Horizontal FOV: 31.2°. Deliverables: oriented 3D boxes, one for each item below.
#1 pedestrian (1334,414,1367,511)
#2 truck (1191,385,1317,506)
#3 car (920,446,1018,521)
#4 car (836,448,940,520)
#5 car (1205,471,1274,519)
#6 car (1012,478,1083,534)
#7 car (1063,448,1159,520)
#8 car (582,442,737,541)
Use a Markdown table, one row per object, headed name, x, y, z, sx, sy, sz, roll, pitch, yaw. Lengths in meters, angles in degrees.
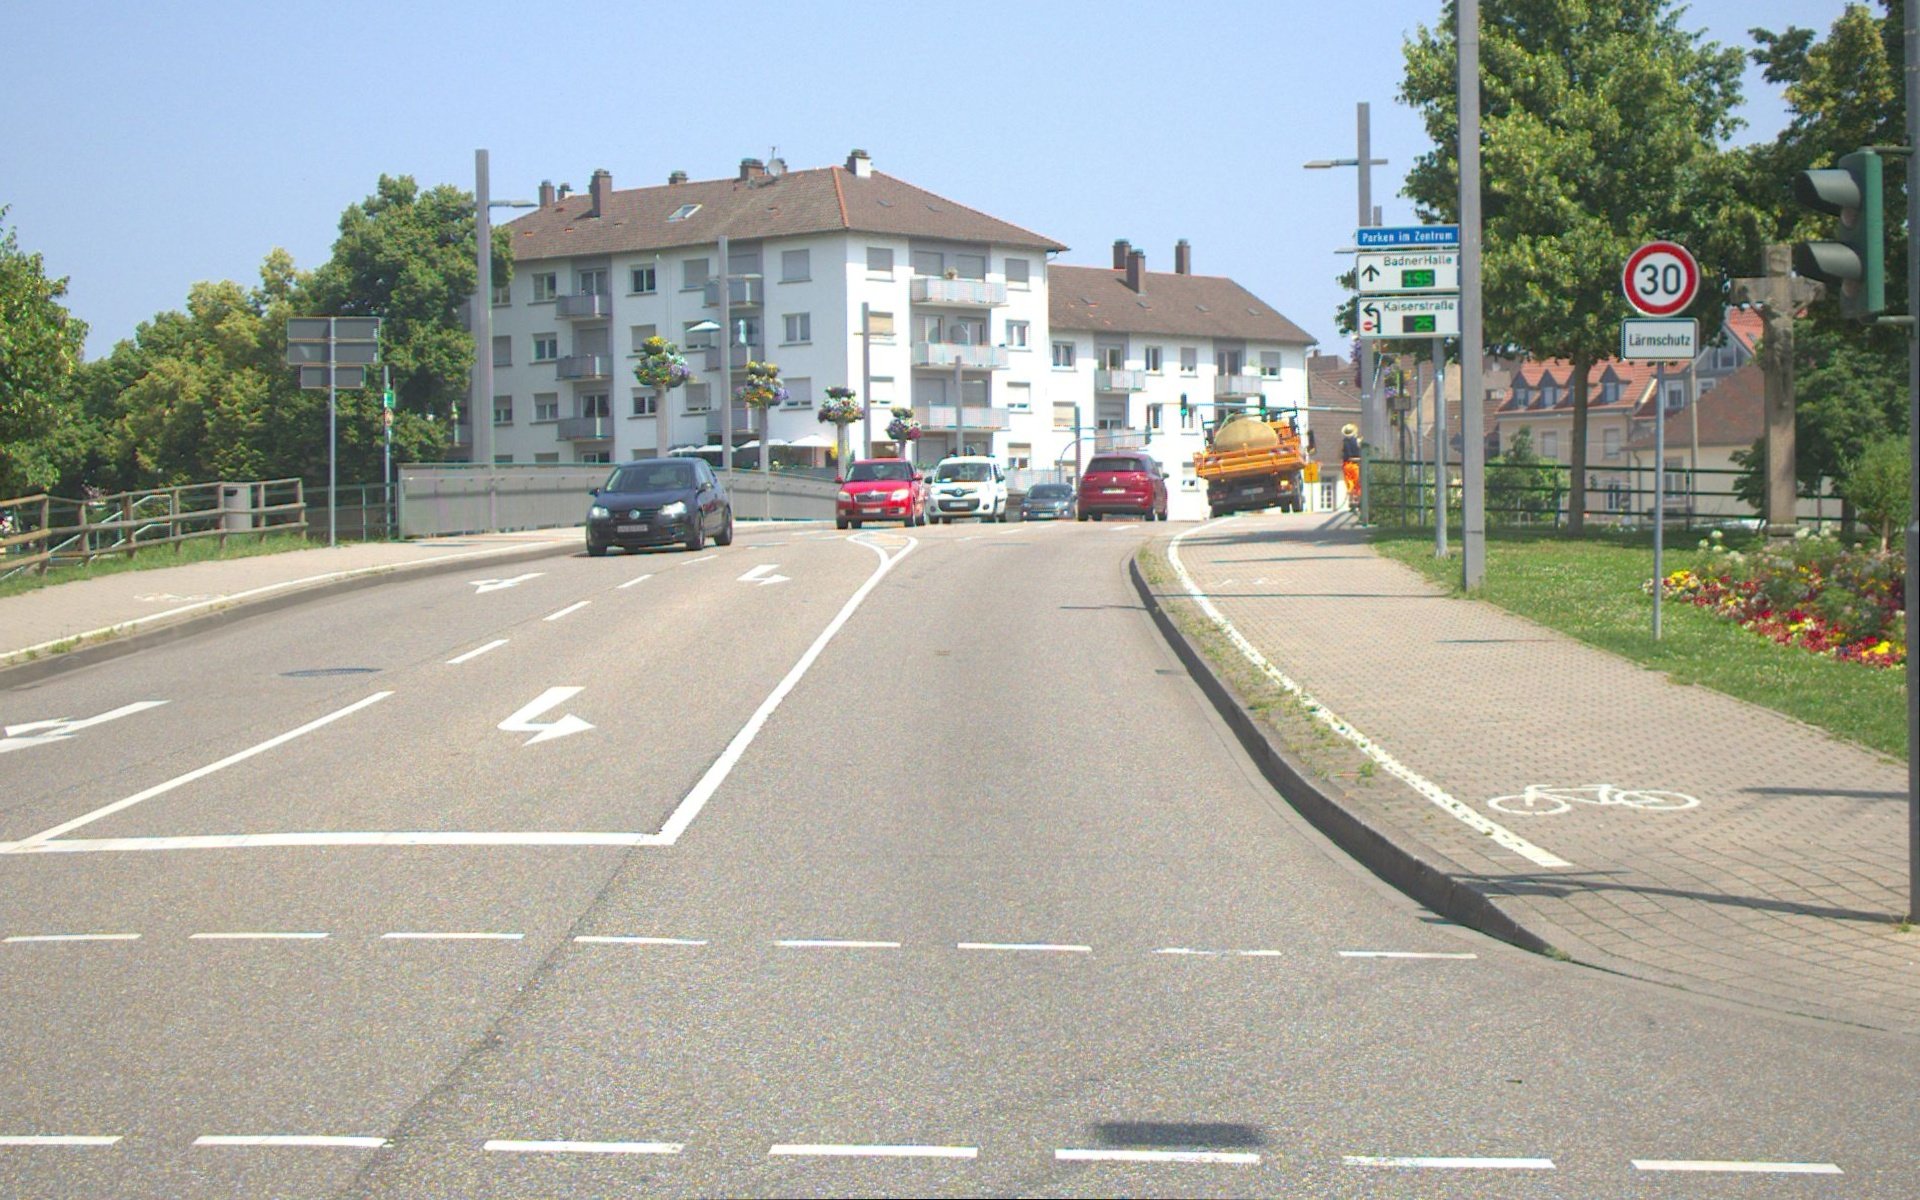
| name | x | y | z | sx | sy | sz | roll | pitch | yaw |
| --- | --- | --- | --- | --- | --- | --- | --- | --- | --- |
| pedestrian | 7.995 | -2.806 | 70.391 | 0.546 | 1.953 | 0.673 | -1 | 1 | -3 |
| truck | 6.954 | -3.586 | 80.679 | 2.606 | 2.682 | 5.822 | -1 | 2 | 8 |
| car | 0.271 | -3.092 | 91.185 | 1.837 | 1.853 | 4.662 | -2 | 2 | 9 |
| car | -1.498 | -2.443 | 73.031 | 1.647 | 1.459 | 3.860 | 0 | 1 | 7 |
| car | 9.137 | -3.407 | 112.234 | 2.038 | 1.498 | 4.416 | 1 | 1 | 7 |
| car | 2.824 | -3.008 | 110.527 | 1.737 | 1.635 | 3.920 | -3 | 0 | 8 |
| car | 3.600 | -2.742 | 81.215 | 1.990 | 1.607 | 4.342 | -1 | 2 | 6 |
| car | -4.692 | -1.689 | 54.185 | 1.714 | 1.480 | 4.031 | 1 | 1 | 6 |
